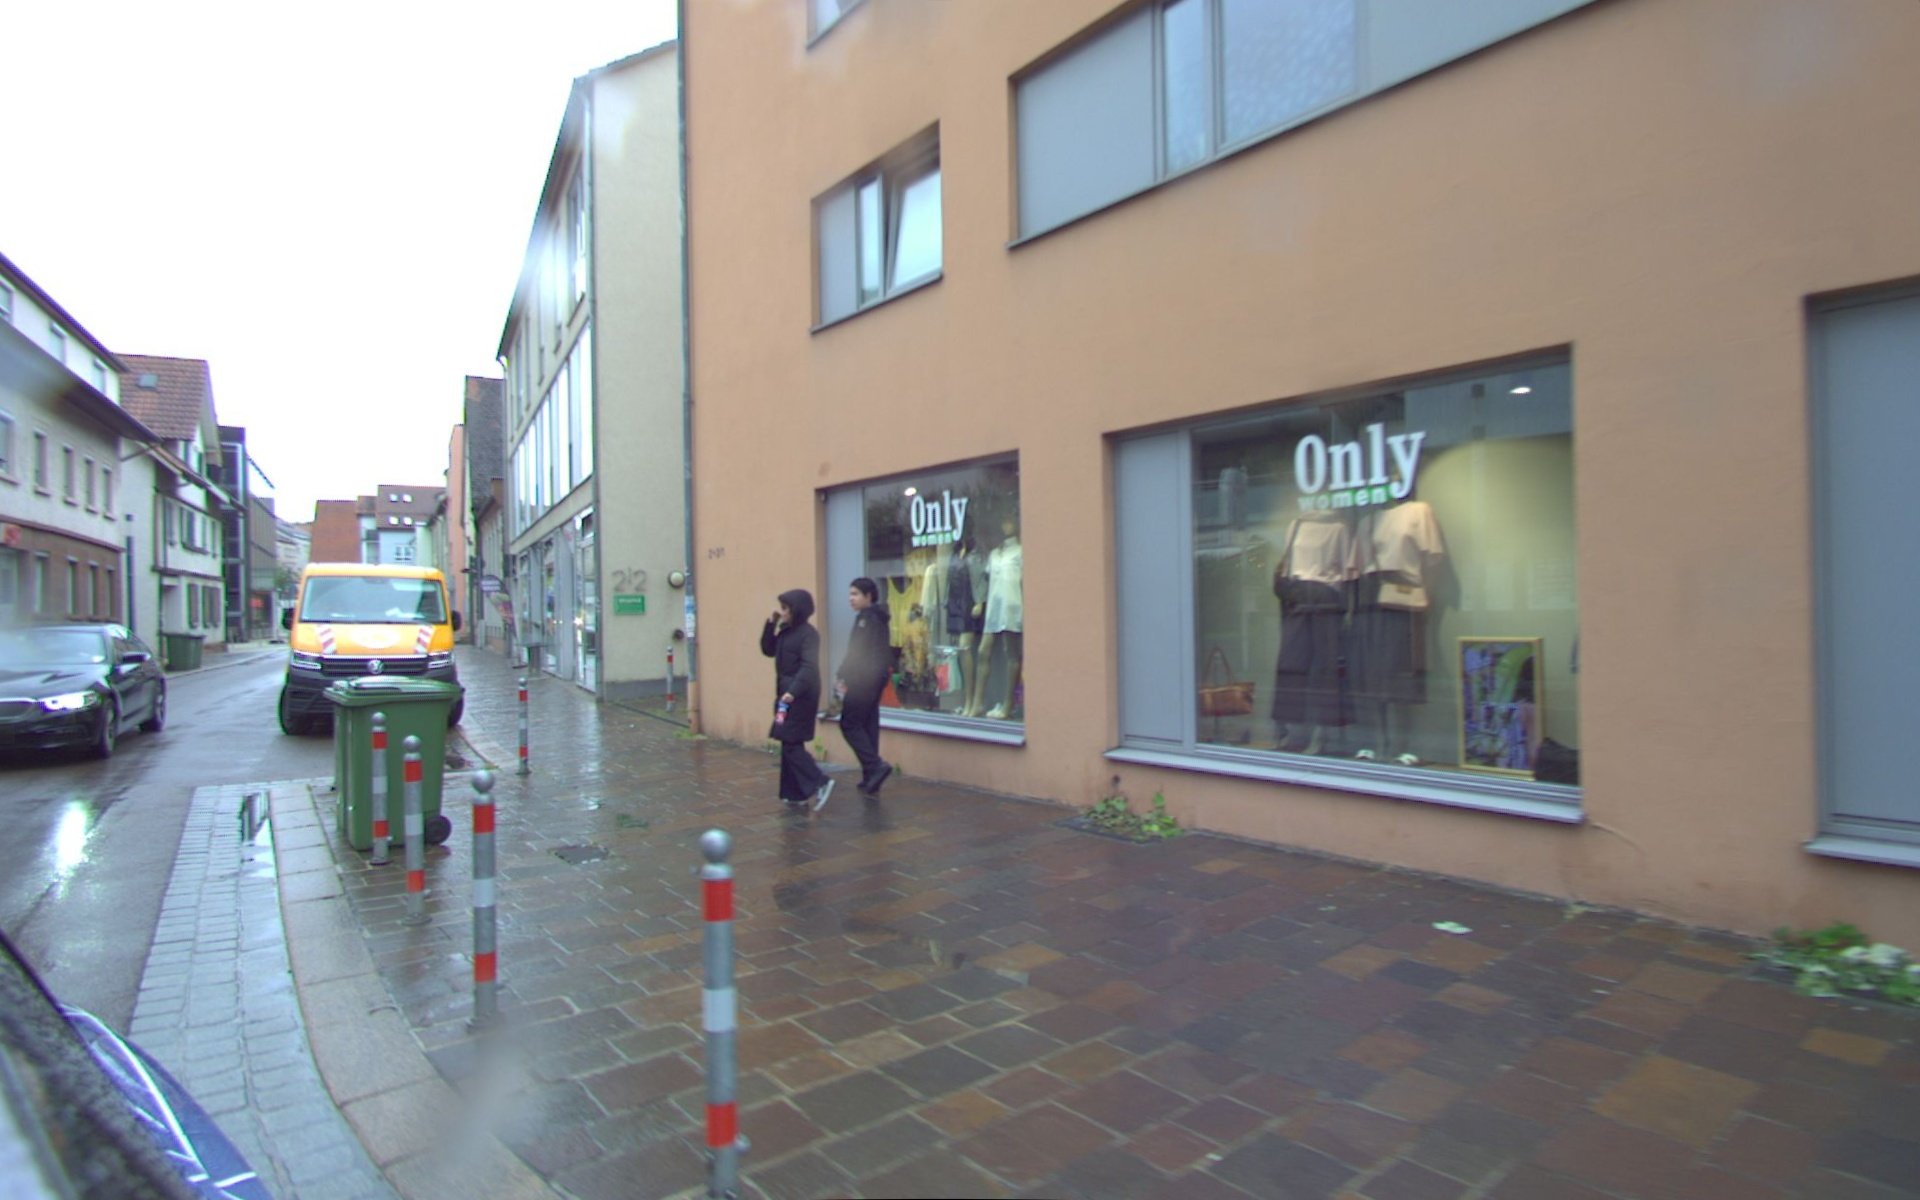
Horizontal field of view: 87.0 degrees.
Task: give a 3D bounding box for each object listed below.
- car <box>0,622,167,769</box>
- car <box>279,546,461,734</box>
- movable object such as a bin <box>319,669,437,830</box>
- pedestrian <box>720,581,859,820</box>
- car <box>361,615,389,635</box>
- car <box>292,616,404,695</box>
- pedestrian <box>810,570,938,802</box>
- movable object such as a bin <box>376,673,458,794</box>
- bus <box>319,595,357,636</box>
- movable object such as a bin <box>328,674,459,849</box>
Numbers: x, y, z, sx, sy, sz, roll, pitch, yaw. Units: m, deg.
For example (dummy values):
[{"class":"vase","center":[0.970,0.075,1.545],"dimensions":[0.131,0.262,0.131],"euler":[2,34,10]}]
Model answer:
[{"class":"car","center":[-10.785,0.989,11.676],"dimensions":[1.915,1.413,4.433],"euler":[-1,-1,-29]},{"class":"car","center":[-8.869,0.526,15.166],"dimensions":[1.966,2.257,5.878],"euler":[0,-1,-32]},{"class":"movable object such as a bin","center":[-4.212,1.045,7.323],"dimensions":[0.648,1.044,0.611],"euler":[0,-1,-39]},{"class":"pedestrian","center":[-1.279,0.701,7.559],"dimensions":[0.705,1.652,0.747],"euler":[-2,0,-37]},{"class":"car","center":[-49.783,2.086,86.149],"dimensions":[1.966,1.608,4.012],"euler":[0,-1,-30]},{"class":"car","center":[-12.289,1.052,20.332],"dimensions":[1.732,1.366,4.494],"euler":[-1,-1,-32]},{"class":"pedestrian","center":[-0.692,0.641,8.050],"dimensions":[0.614,1.725,0.811],"euler":[-2,0,-37]},{"class":"movable object such as a bin","center":[-4.653,1.122,8.667],"dimensions":[0.573,0.934,0.483],"euler":[-2,0,-30]},{"class":"bus","center":[-50.867,1.253,82.918],"dimensions":[2.568,3.218,7.397],"euler":[0,-1,-31]},{"class":"movable object such as a bin","center":[-3.759,1.030,6.715],"dimensions":[0.648,1.044,0.611],"euler":[2,-2,-39]}]
